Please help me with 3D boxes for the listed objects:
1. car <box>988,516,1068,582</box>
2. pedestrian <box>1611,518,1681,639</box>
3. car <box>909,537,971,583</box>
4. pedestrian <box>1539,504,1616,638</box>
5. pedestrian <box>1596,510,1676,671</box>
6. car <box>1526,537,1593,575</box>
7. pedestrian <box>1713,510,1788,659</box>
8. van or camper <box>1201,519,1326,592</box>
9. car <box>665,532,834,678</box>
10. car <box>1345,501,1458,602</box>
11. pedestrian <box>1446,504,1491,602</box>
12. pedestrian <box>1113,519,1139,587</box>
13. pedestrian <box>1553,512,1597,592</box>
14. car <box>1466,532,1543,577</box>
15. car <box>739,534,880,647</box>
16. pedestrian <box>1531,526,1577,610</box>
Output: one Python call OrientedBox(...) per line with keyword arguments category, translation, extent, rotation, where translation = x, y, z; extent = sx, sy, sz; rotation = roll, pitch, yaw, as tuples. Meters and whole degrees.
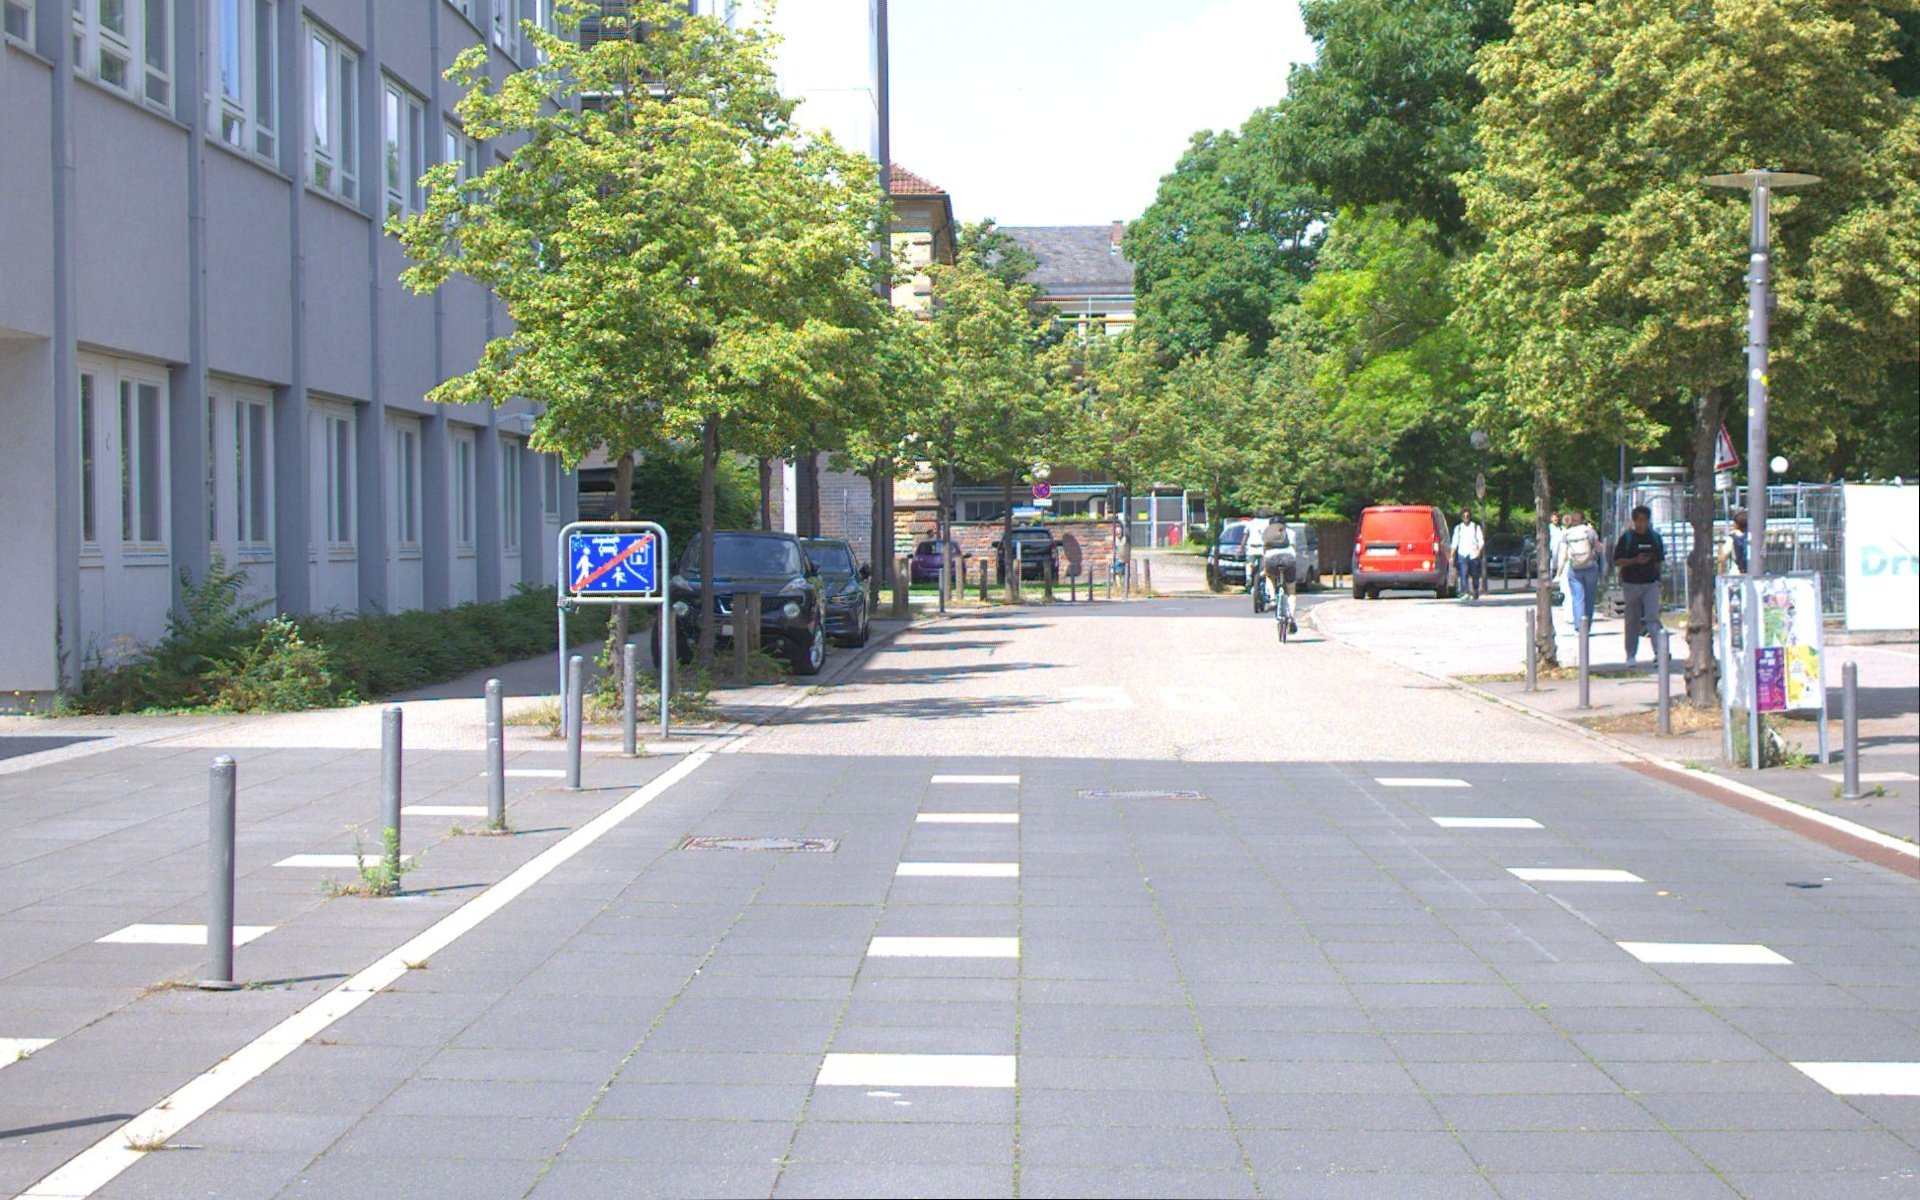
OrientedBox(category="car", translation=(2.003, -1.525, 102.749), extent=(2.175, 1.919, 5.186), rotation=(-1, 1, -1))
OrientedBox(category="pedestrian", translation=(9.139, -0.291, 45.824), extent=(0.668, 1.594, 0.985), rotation=(-1, 1, -3))
OrientedBox(category="car", translation=(-0.576, -1.200, 102.790), extent=(1.817, 1.319, 3.768), rotation=(-1, 1, 0))
OrientedBox(category="pedestrian", translation=(8.278, -0.391, 46.116), extent=(0.850, 1.758, 0.716), rotation=(-1, 1, -2))
OrientedBox(category="pedestrian", translation=(7.217, -0.109, 36.704), extent=(0.641, 1.691, 0.792), rotation=(-1, 1, -4))
OrientedBox(category="car", translation=(21.961, -1.620, 125.793), extent=(1.617, 1.383, 3.996), rotation=(0, 1, 22))
OrientedBox(category="pedestrian", translation=(8.989, -0.185, 39.105), extent=(0.649, 1.660, 0.904), rotation=(-1, 1, 3))
OrientedBox(category="van or camper", translation=(8.359, -1.240, 94.318), extent=(1.955, 1.916, 5.414), rotation=(1, 1, 21))
OrientedBox(category="car", translation=(-2.338, 0.014, 39.007), extent=(1.697, 1.558, 4.068), rotation=(-1, 1, -1))
OrientedBox(category="car", translation=(8.729, -0.965, 67.662), extent=(1.849, 1.885, 4.888), rotation=(-1, 1, 11))
OrientedBox(category="pedestrian", translation=(9.340, -0.871, 63.172), extent=(0.695, 1.775, 0.786), rotation=(-1, 1, 15))
OrientedBox(category="pedestrian", translation=(4.384, -1.246, 90.869), extent=(0.584, 1.758, 0.911), rotation=(-1, 1, 7))
OrientedBox(category="pedestrian", translation=(13.143, -1.029, 73.458), extent=(0.743, 1.704, 0.564), rotation=(-1, 1, -34))
OrientedBox(category="car", translation=(18.845, -1.597, 118.827), extent=(1.762, 1.516, 4.107), rotation=(0, 1, 22))
OrientedBox(category="car", translation=(-2.022, -0.169, 47.122), extent=(1.778, 1.456, 4.259), rotation=(1, 1, -1))
OrientedBox(category="pedestrian", translation=(12.913, -0.695, 74.719), extent=(0.721, 1.815, 0.630), rotation=(-1, 1, -34))
